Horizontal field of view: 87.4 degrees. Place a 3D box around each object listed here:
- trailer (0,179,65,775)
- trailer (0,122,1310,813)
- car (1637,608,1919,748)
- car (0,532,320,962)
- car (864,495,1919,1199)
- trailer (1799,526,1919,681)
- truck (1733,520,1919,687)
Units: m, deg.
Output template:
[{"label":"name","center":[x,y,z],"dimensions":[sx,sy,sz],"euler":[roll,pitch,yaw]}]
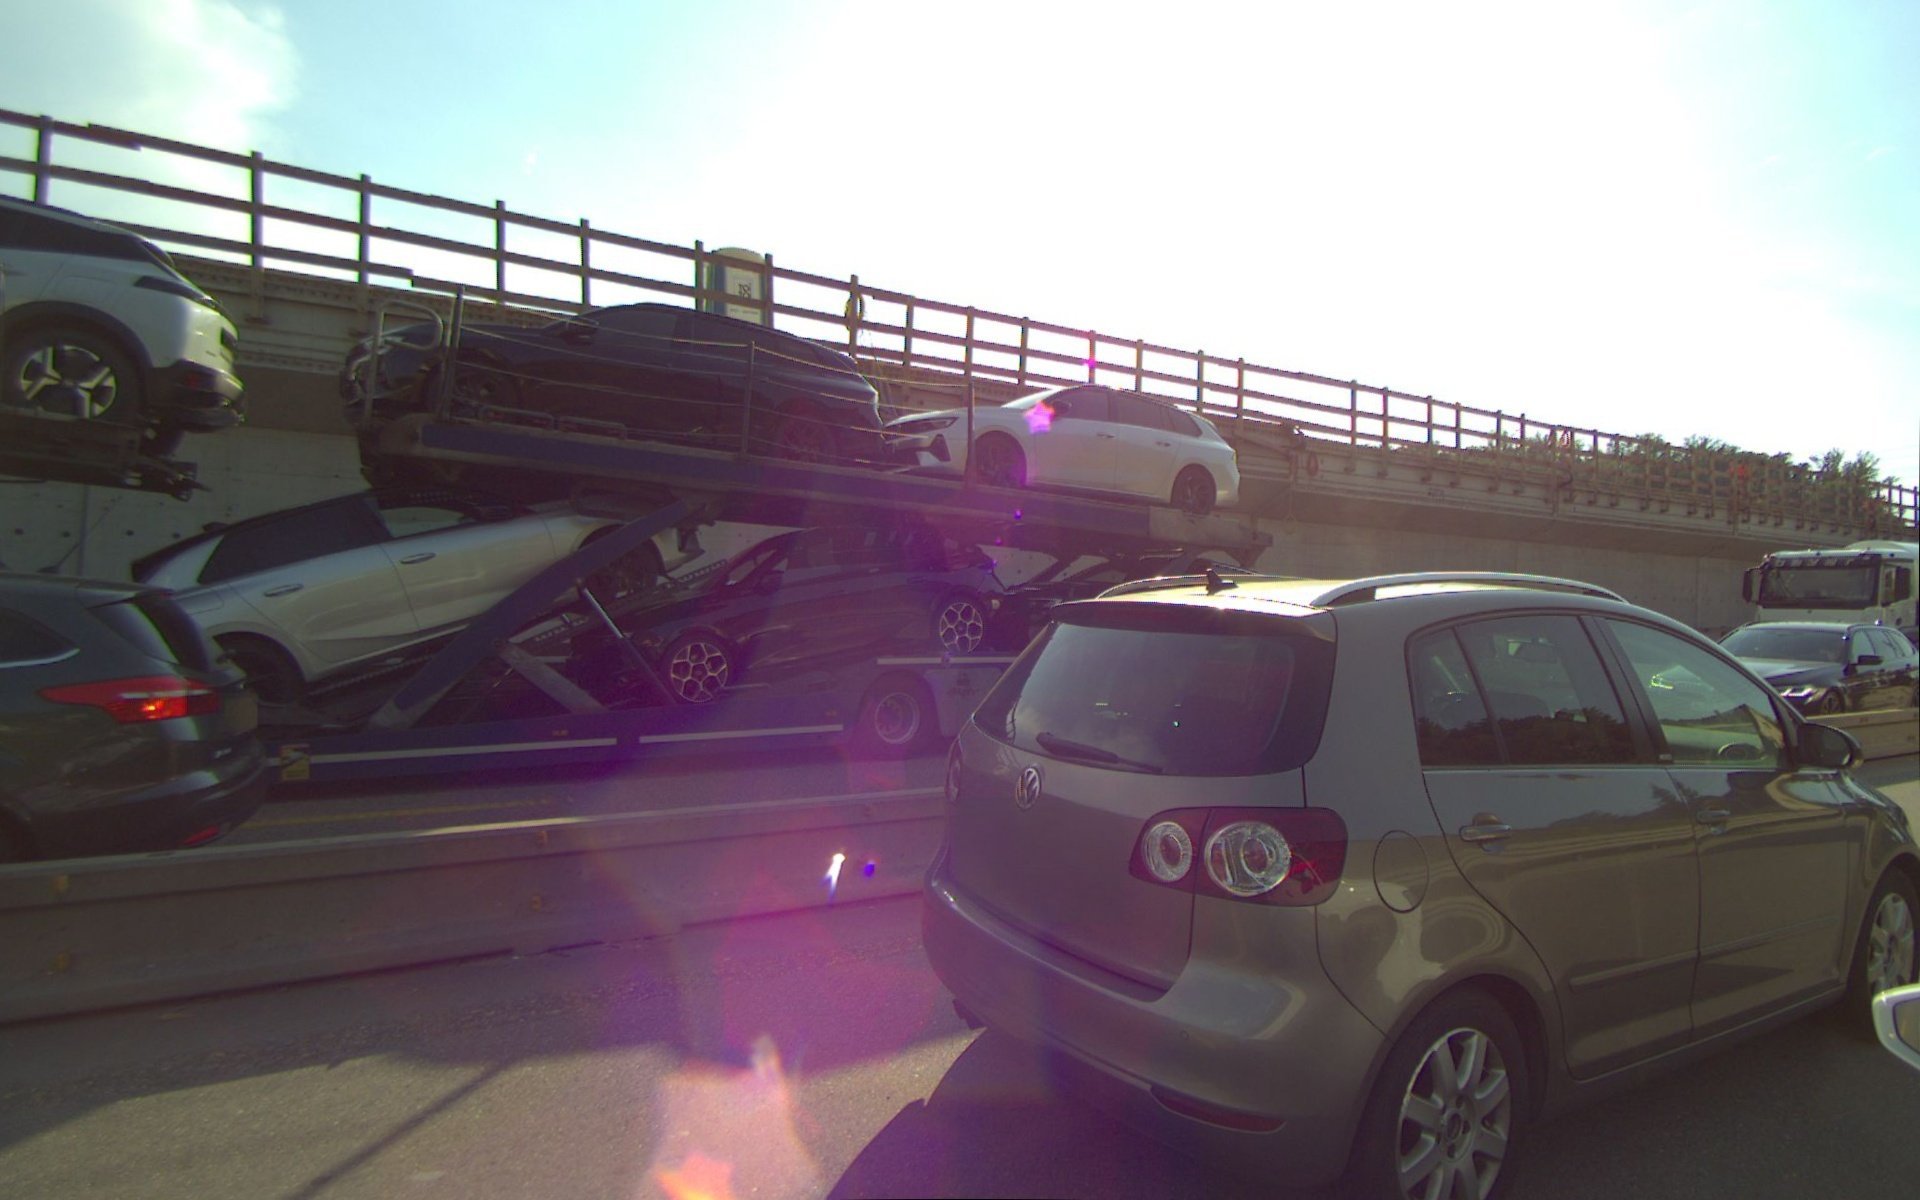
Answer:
[{"label":"trailer","center":[-9.697,-0.909,5.129],"dimensions":[7.125,4.084,2.757],"euler":[2,0,-31]},{"label":"trailer","center":[-3.290,-0.681,8.996],"dimensions":[15.583,4.084,2.757],"euler":[2,0,-31]},{"label":"car","center":[11.308,0.974,13.550],"dimensions":[4.781,1.572,1.756],"euler":[2,0,-31]},{"label":"car","center":[-5.075,0.501,3.853],"dimensions":[4.288,1.599,1.748],"euler":[2,0,-31]},{"label":"car","center":[1.936,0.698,3.615],"dimensions":[4.223,1.609,1.672],"euler":[2,-1,-31]},{"label":"trailer","center":[26.108,0.232,26.567],"dimensions":[10.557,3.573,2.544],"euler":[2,0,-30]},{"label":"truck","center":[20.718,0.145,23.305],"dimensions":[5.468,3.454,2.536],"euler":[2,0,-31]}]
